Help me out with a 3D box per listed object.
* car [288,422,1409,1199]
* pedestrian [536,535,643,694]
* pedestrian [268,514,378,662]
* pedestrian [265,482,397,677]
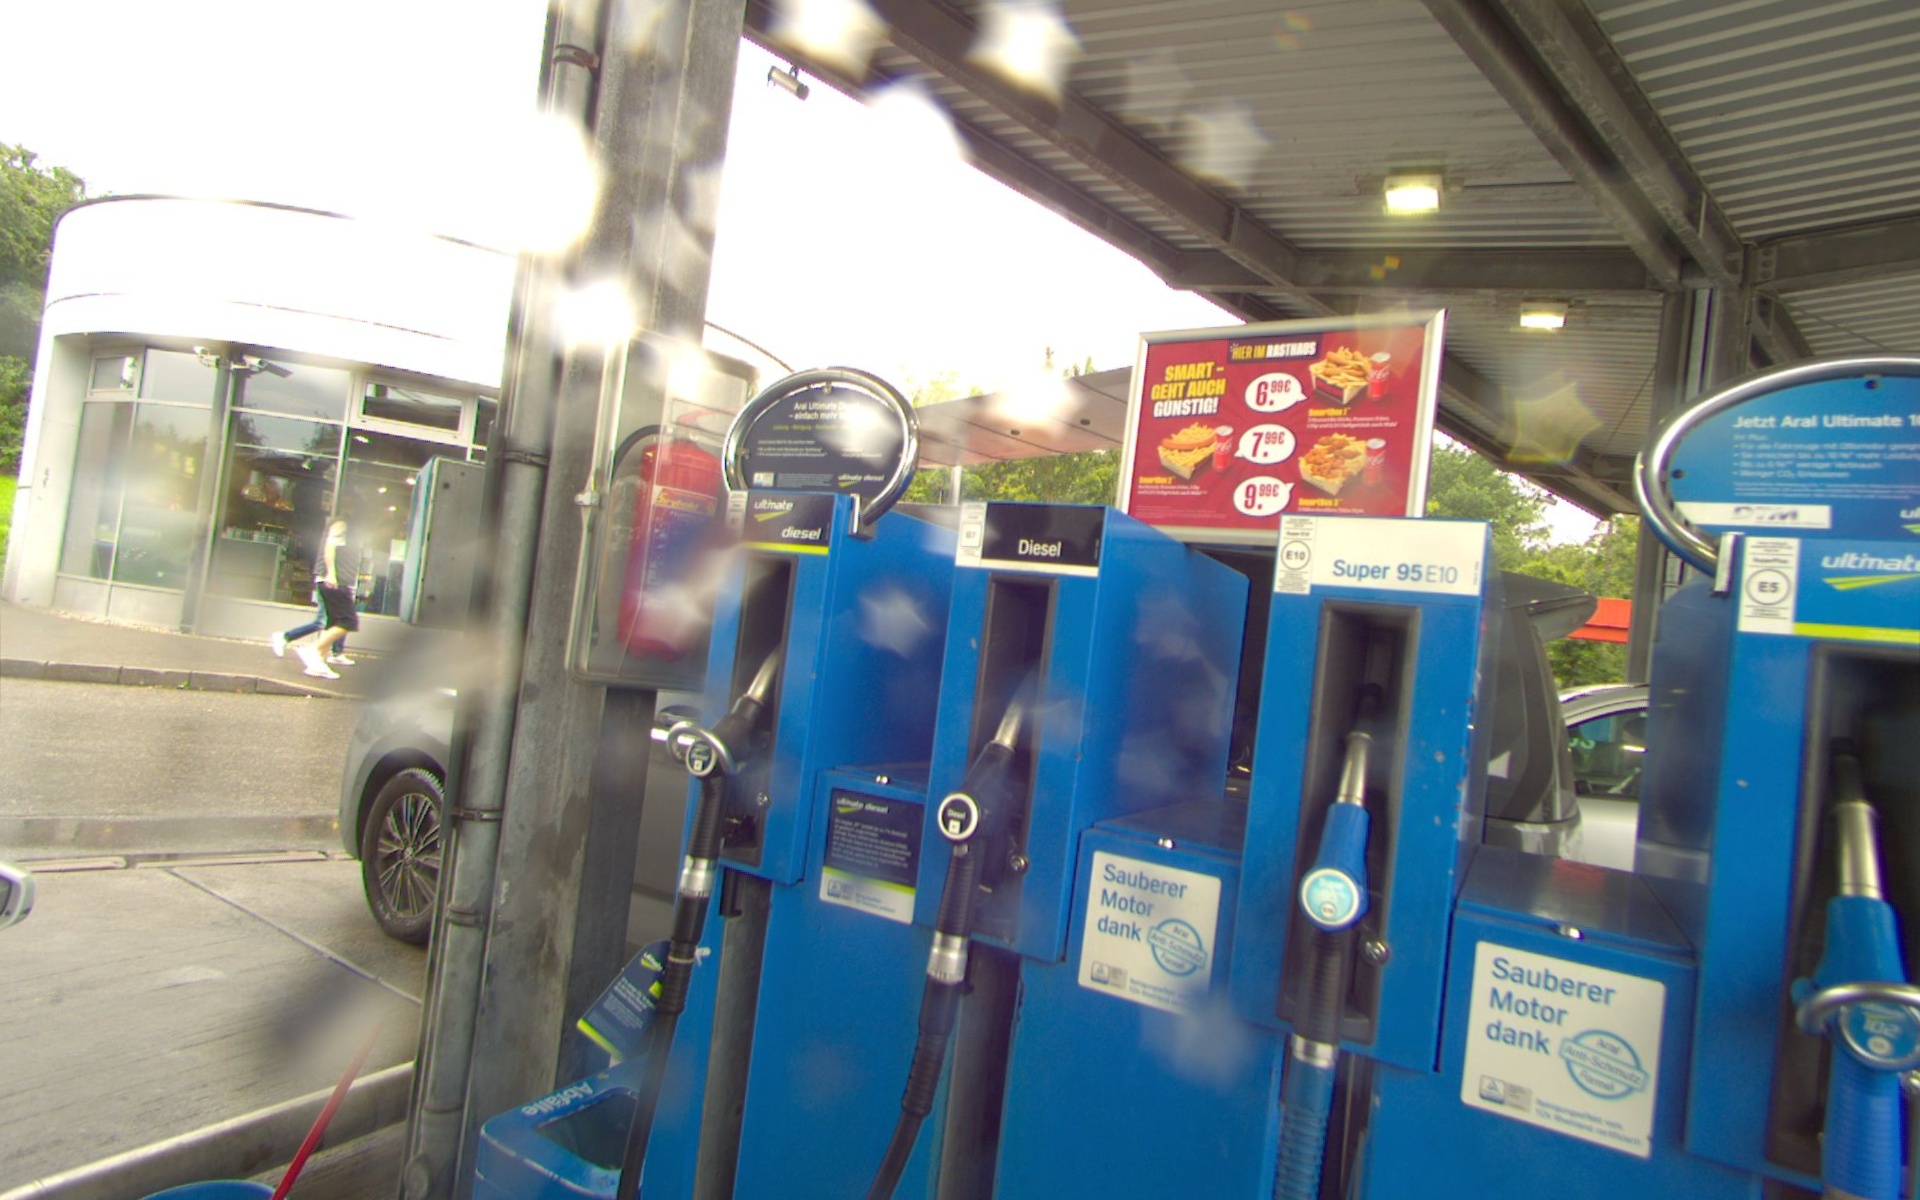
[{"bbox_3d":[-0.584,0.515,3.980,3.934,1.971,1.819,7,-1,32],"label":"car"},{"bbox_3d":[-4.773,0.184,12.952,0.990,1.887,0.793,7,0,-30],"label":"pedestrian"},{"bbox_3d":[-7.342,-0.132,11.640,0.882,1.569,0.655,7,0,-29],"label":"pedestrian"},{"bbox_3d":[-6.584,-0.201,10.585,0.965,1.871,0.767,7,0,-30],"label":"pedestrian"}]
